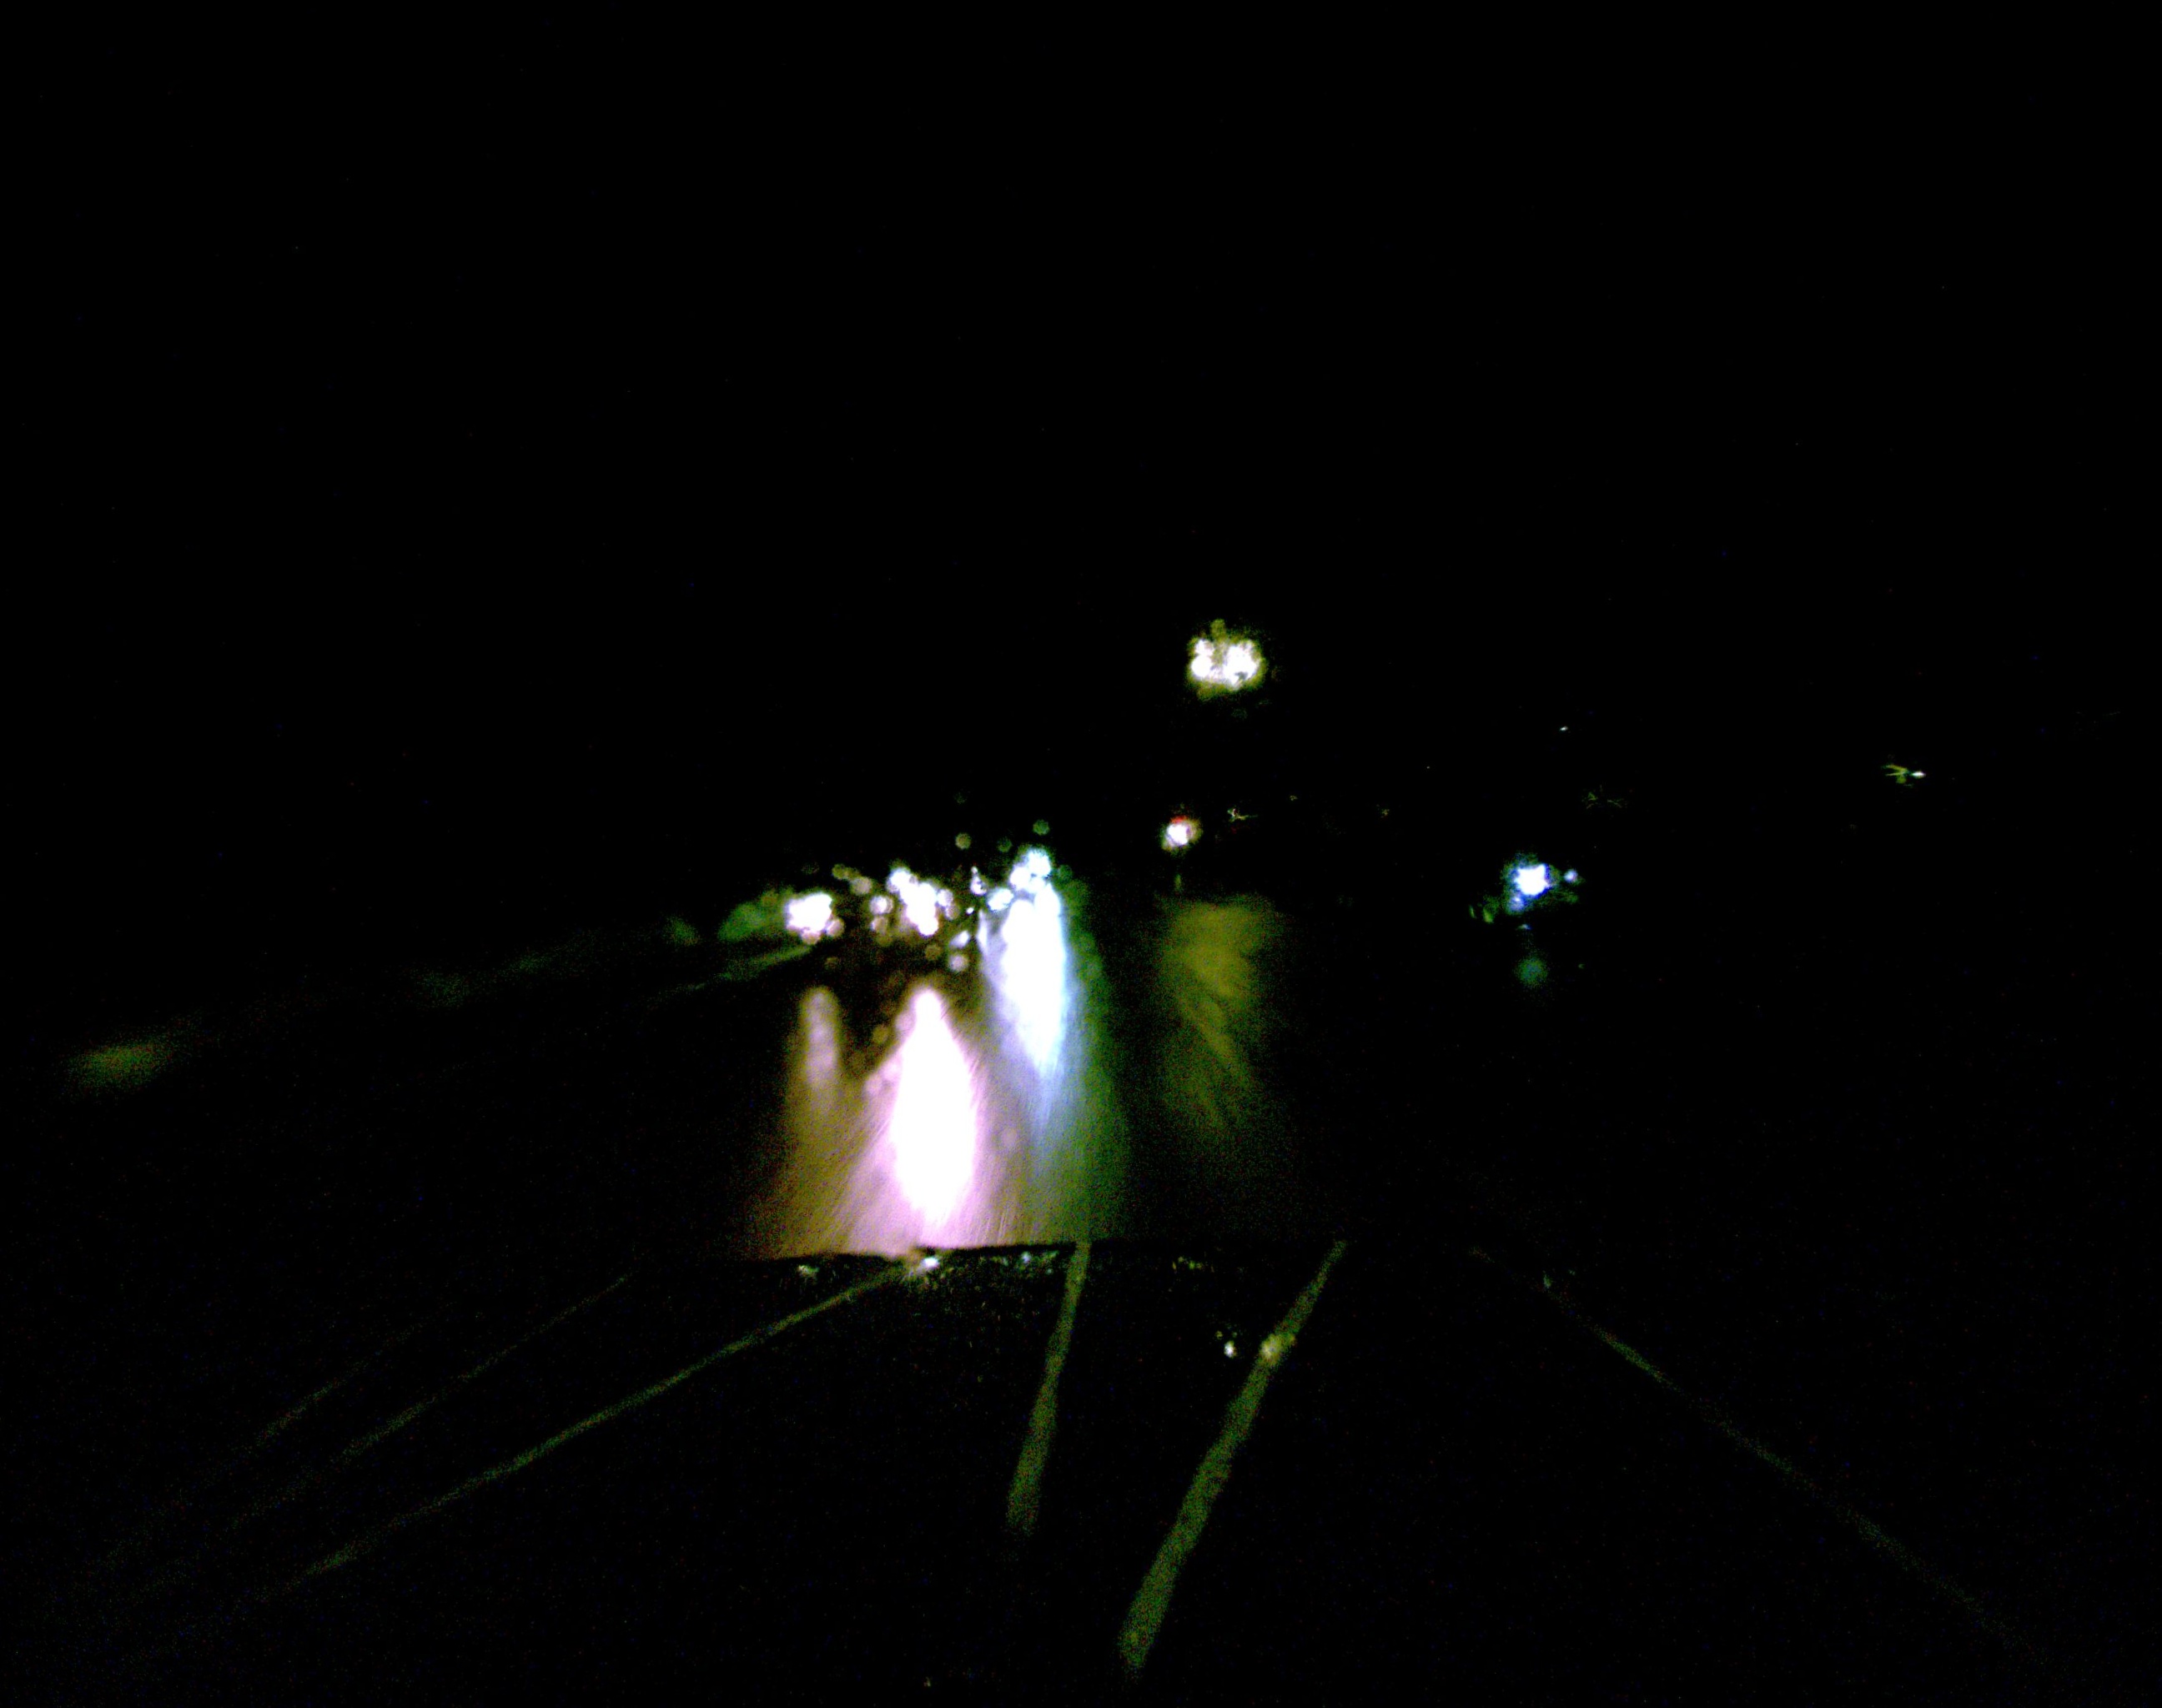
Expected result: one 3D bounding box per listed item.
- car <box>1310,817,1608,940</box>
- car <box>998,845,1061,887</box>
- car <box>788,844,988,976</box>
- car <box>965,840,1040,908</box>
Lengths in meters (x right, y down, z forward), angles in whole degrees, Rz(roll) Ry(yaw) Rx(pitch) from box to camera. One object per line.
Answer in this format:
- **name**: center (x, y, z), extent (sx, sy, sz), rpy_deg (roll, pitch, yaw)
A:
- **car**: center (6.646, 0.363, 13.923), extent (2.003, 1.833, 4.514), rpy_deg (-3, 1, -29)
- **car**: center (-2.165, 0.467, 33.269), extent (1.998, 1.544, 4.694), rpy_deg (-3, 1, 5)
- **car**: center (-2.753, 0.680, 12.110), extent (1.878, 1.579, 4.887), rpy_deg (-3, 1, 0)
- **car**: center (-2.303, 0.515, 23.298), extent (1.794, 1.802, 4.197), rpy_deg (-3, 1, -1)
